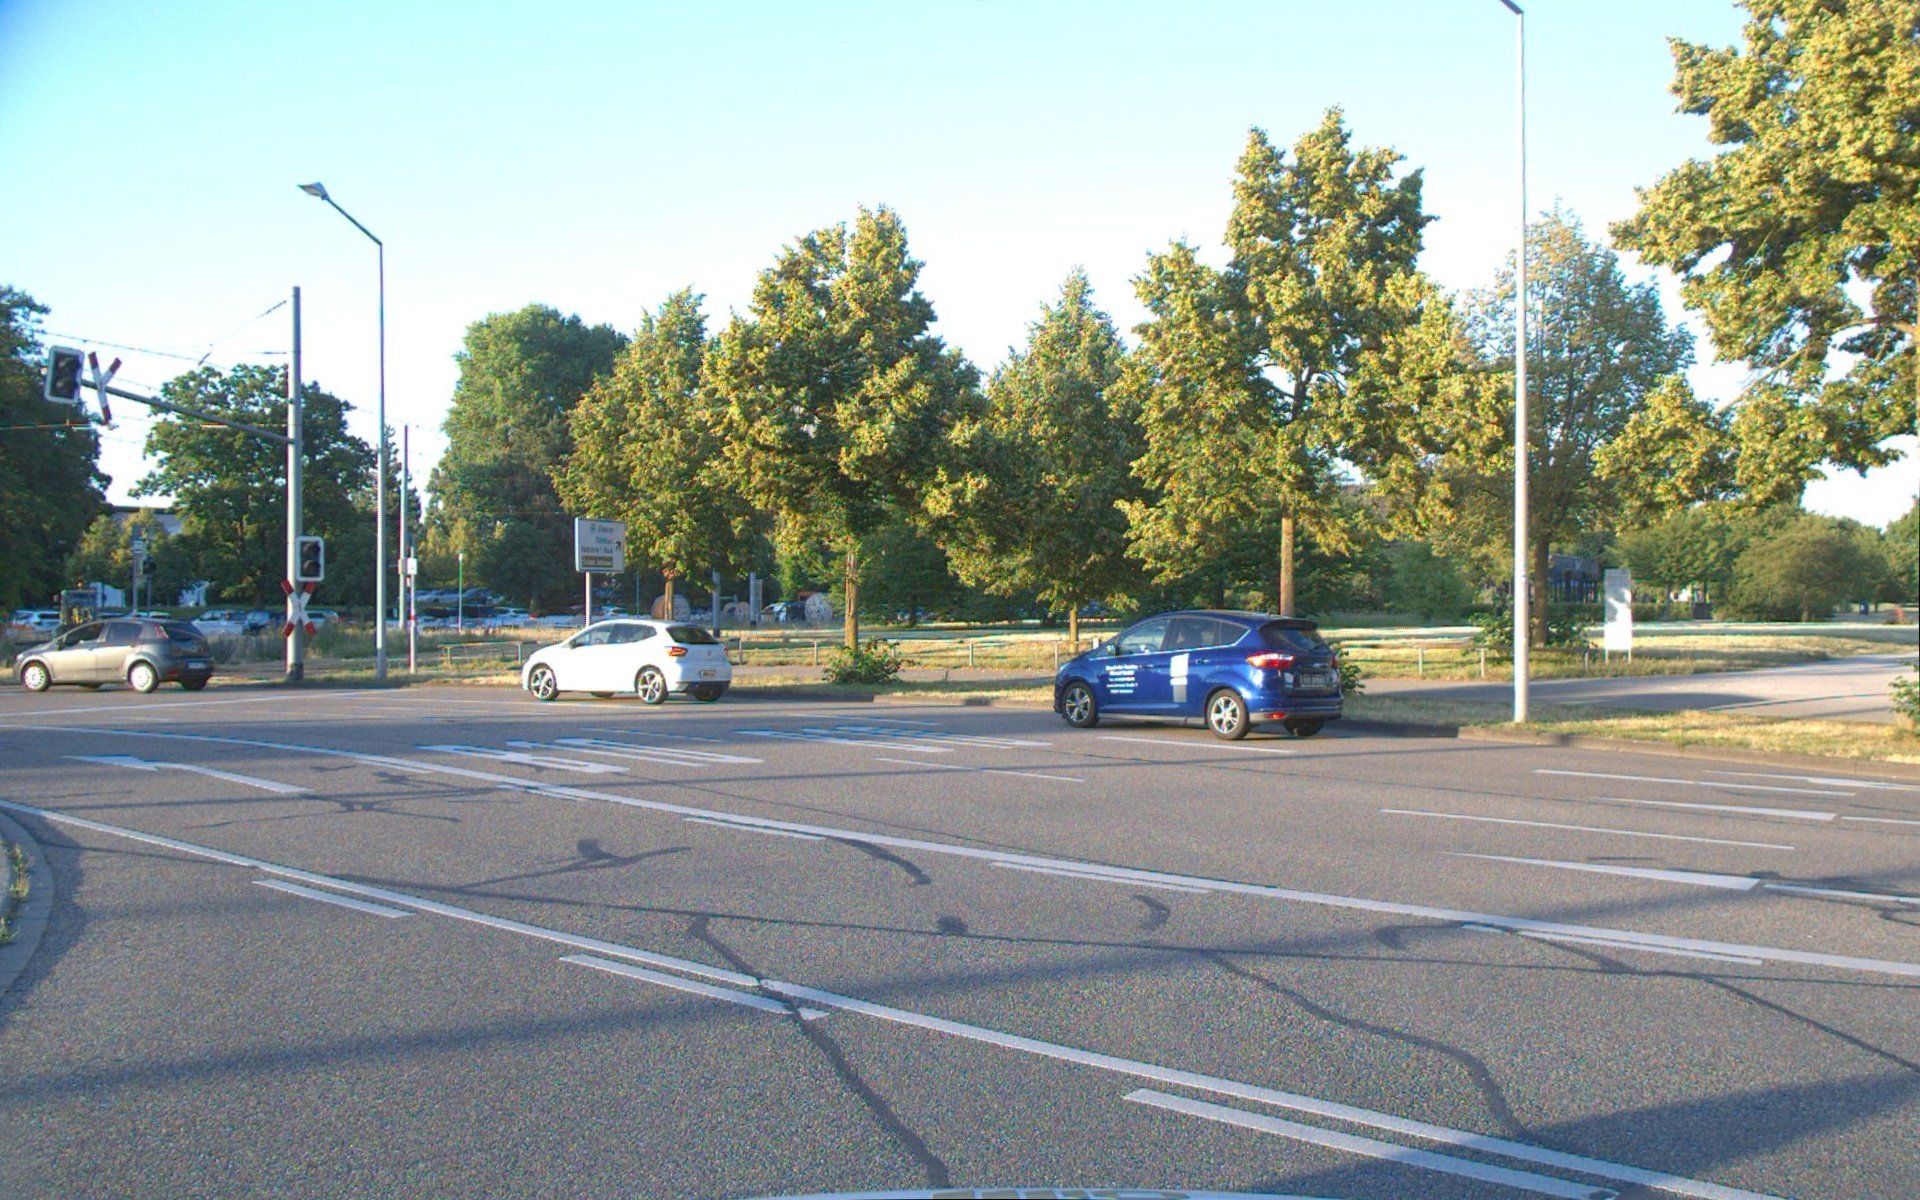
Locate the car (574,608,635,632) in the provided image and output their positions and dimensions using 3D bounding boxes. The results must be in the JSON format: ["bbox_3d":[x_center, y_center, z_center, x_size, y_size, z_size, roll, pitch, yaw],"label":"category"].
[{"bbox_3d":[-24.814,1.357,115.374,3.915,1.632,1.995,0,0,32],"label":"car"}]

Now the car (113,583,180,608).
[{"bbox_3d":[-67.017,-0.370,136.317,1.958,2.049,4.585,0,0,33],"label":"car"}]

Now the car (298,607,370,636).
[{"bbox_3d":[-36.369,1.222,96.045,3.915,1.632,1.995,0,0,32],"label":"car"}]

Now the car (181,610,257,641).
[{"bbox_3d":[-40.459,1.392,90.336,3.915,1.632,1.995,0,0,32],"label":"car"}]

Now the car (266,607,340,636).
[{"bbox_3d":[-37.296,1.196,93.859,3.915,1.632,1.995,0,0,32],"label":"car"}]

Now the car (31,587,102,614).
[{"bbox_3d":[-70.437,0.017,130.444,1.956,2.049,4.590,0,0,29],"label":"car"}]

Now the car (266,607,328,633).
[{"bbox_3d":[-45.730,1.356,114.075,3.933,1.691,1.889,0,0,-23],"label":"car"}]

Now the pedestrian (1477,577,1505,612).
[{"bbox_3d":[25.668,-0.262,79.979,1.047,1.646,0.911,0,0,2],"label":"pedestrian"}]

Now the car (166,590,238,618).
[{"bbox_3d":[-56.555,0.278,123.461,1.956,2.049,4.590,0,0,29],"label":"car"}]

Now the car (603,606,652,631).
[{"bbox_3d":[-25.829,1.446,128.238,1.979,1.782,4.538,0,1,-37],"label":"car"}]

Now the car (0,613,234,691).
[{"bbox_3d":[-17.235,1.051,33.820,4.060,1.479,1.869,1,-1,14],"label":"car"}]

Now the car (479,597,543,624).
[{"bbox_3d":[-34.000,0.778,125.304,4.499,2.049,1.996,0,0,-9],"label":"car"}]

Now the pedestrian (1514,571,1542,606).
[{"bbox_3d":[27.234,-0.550,79.248,1.047,1.646,0.911,0,0,2],"label":"pedestrian"}]

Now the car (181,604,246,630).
[{"bbox_3d":[-50.476,1.144,111.837,3.939,1.691,1.983,0,0,-27],"label":"car"}]

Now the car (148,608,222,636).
[{"bbox_3d":[-50.148,1.403,107.050,1.863,1.691,3.987,0,0,34],"label":"car"}]

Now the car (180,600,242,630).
[{"bbox_3d":[-52.758,1.069,116.458,3.939,2.049,1.983,0,0,-27],"label":"car"}]

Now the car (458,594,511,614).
[{"bbox_3d":[-41.584,0.341,144.685,3.902,1.736,2.001,0,0,6],"label":"car"}]

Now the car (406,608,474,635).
[{"bbox_3d":[-32.232,1.322,102.502,3.915,1.632,1.995,0,0,32],"label":"car"}]

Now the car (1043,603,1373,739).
[{"bbox_3d":[3.239,0.869,22.183,1.900,1.611,4.114,1,0,-43],"label":"car"}]

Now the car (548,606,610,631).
[{"bbox_3d":[-26.184,1.271,113.625,3.915,1.632,1.995,0,0,32],"label":"car"}]

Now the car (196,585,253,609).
[{"bbox_3d":[-63.271,-0.280,142.336,1.958,2.049,4.104,0,0,33],"label":"car"}]

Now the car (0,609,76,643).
[{"bbox_3d":[-45.559,1.264,81.397,3.915,1.632,1.995,0,0,32],"label":"car"}]

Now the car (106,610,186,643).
[{"bbox_3d":[-42.187,1.341,85.748,3.915,1.632,1.995,0,0,32],"label":"car"}]

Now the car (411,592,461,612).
[{"bbox_3d":[-47.842,0.161,151.029,1.959,1.847,3.987,0,0,34],"label":"car"}]

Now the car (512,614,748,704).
[{"bbox_3d":[-5.898,1.005,29.514,3.885,1.479,1.864,0,0,30],"label":"car"}]

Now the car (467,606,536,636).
[{"bbox_3d":[-32.436,1.477,117.110,4.499,2.049,1.996,0,0,-9],"label":"car"}]

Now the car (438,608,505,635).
[{"bbox_3d":[-30.896,1.355,104.639,3.915,1.632,1.995,0,0,32],"label":"car"}]

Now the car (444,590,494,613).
[{"bbox_3d":[-43.982,0.156,148.199,1.963,2.049,3.979,0,0,40],"label":"car"}]

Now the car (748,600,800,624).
[{"bbox_3d":[-12.916,0.795,114.615,1.724,1.646,3.940,0,0,-41],"label":"car"}]
